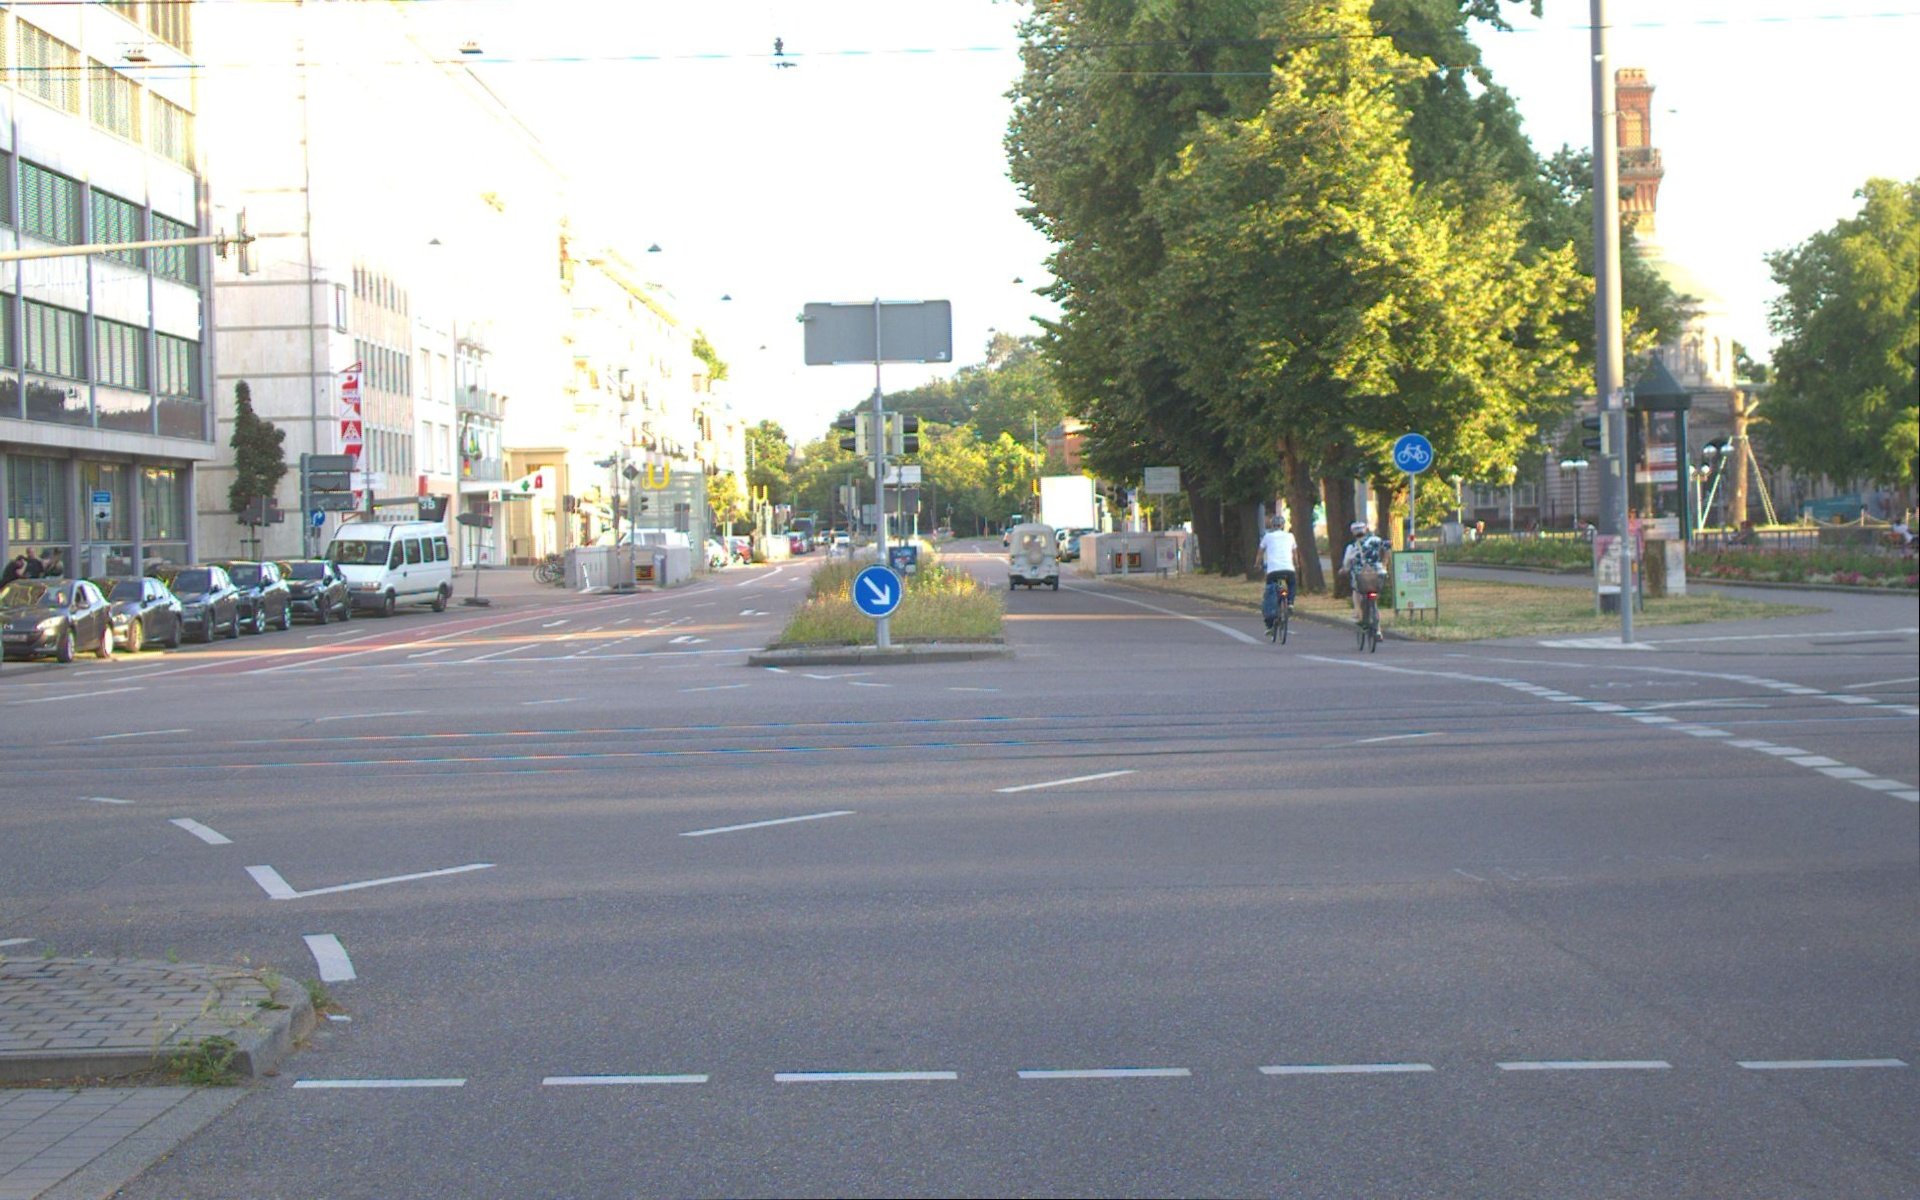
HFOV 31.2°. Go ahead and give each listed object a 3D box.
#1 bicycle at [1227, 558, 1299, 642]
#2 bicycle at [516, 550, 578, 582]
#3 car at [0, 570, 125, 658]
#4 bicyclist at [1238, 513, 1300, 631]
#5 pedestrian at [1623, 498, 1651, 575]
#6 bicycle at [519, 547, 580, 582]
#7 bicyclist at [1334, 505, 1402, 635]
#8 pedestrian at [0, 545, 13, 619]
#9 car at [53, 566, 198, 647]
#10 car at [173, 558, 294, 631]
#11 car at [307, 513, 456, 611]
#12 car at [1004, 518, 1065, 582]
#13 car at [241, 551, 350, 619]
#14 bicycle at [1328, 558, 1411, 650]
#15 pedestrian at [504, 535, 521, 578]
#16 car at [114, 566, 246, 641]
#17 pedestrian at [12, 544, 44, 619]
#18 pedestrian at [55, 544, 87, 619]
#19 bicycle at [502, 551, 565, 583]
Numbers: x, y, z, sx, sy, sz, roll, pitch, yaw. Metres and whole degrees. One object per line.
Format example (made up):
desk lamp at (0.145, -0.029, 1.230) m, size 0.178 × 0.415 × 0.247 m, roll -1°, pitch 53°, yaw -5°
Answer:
bicycle at (4.345, -0.021, 49.447) m, size 0.746 × 1.140 × 2.505 m, roll -2°, pitch 1°, yaw -1°
bicycle at (-15.221, -1.269, 126.801) m, size 2.205 × 1.108 × 0.689 m, roll -2°, pitch 1°, yaw -2°
car at (-16.485, 0.237, 61.907) m, size 1.920 × 1.459 × 4.103 m, roll -2°, pitch 1°, yaw -1°
bicyclist at (4.402, -0.404, 49.007) m, size 0.746 × 1.658 × 0.873 m, roll -2°, pitch 1°, yaw -1°
pedestrian at (14.714, -1.376, 74.712) m, size 0.460 × 1.651 × 0.567 m, roll -1°, pitch 1°, yaw -1°
bicycle at (-15.389, -1.322, 128.899) m, size 2.205 × 1.232 × 0.839 m, roll -2°, pitch 1°, yaw -2°
bicyclist at (5.396, -0.405, 45.505) m, size 0.746 × 1.685 × 0.799 m, roll -2°, pitch 1°, yaw -1°
pedestrian at (-21.861, -0.402, 78.012) m, size 0.551 × 1.673 × 0.500 m, roll -2°, pitch 1°, yaw -1°
car at (-16.575, 0.106, 68.437) m, size 1.920 × 1.459 × 4.000 m, roll -2°, pitch 1°, yaw -1°
car at (-16.557, -0.145, 78.554) m, size 1.920 × 1.563 × 4.000 m, roll -2°, pitch 1°, yaw -1°
car at (-15.300, -1.049, 91.230) m, size 2.002 × 2.469 × 5.865 m, roll -1°, pitch 1°, yaw 10°
car at (1.983, -1.352, 92.216) m, size 1.408 × 1.636 × 4.000 m, roll -2°, pitch 1°, yaw -2°
car at (-16.359, -0.379, 84.780) m, size 1.920 × 1.563 × 4.000 m, roll -2°, pitch 1°, yaw -1°
bicycle at (5.411, 0.037, 45.507) m, size 0.746 × 1.140 × 2.505 m, roll -2°, pitch 1°, yaw -1°
pedestrian at (-21.474, -2.084, 164.868) m, size 0.680 × 2.007 × 0.545 m, roll -2°, pitch 1°, yaw 0°
car at (-16.579, 0.058, 73.252) m, size 1.920 × 1.459 × 4.000 m, roll -2°, pitch 1°, yaw -1°
pedestrian at (-21.210, -0.428, 78.252) m, size 0.551 × 1.673 × 0.500 m, roll -2°, pitch 1°, yaw -1°
pedestrian at (-20.178, -0.420, 77.998) m, size 0.551 × 1.673 × 0.500 m, roll -2°, pitch 1°, yaw -1°
bicycle at (-15.573, -1.221, 125.461) m, size 2.205 × 1.108 × 0.619 m, roll -2°, pitch 1°, yaw -2°
